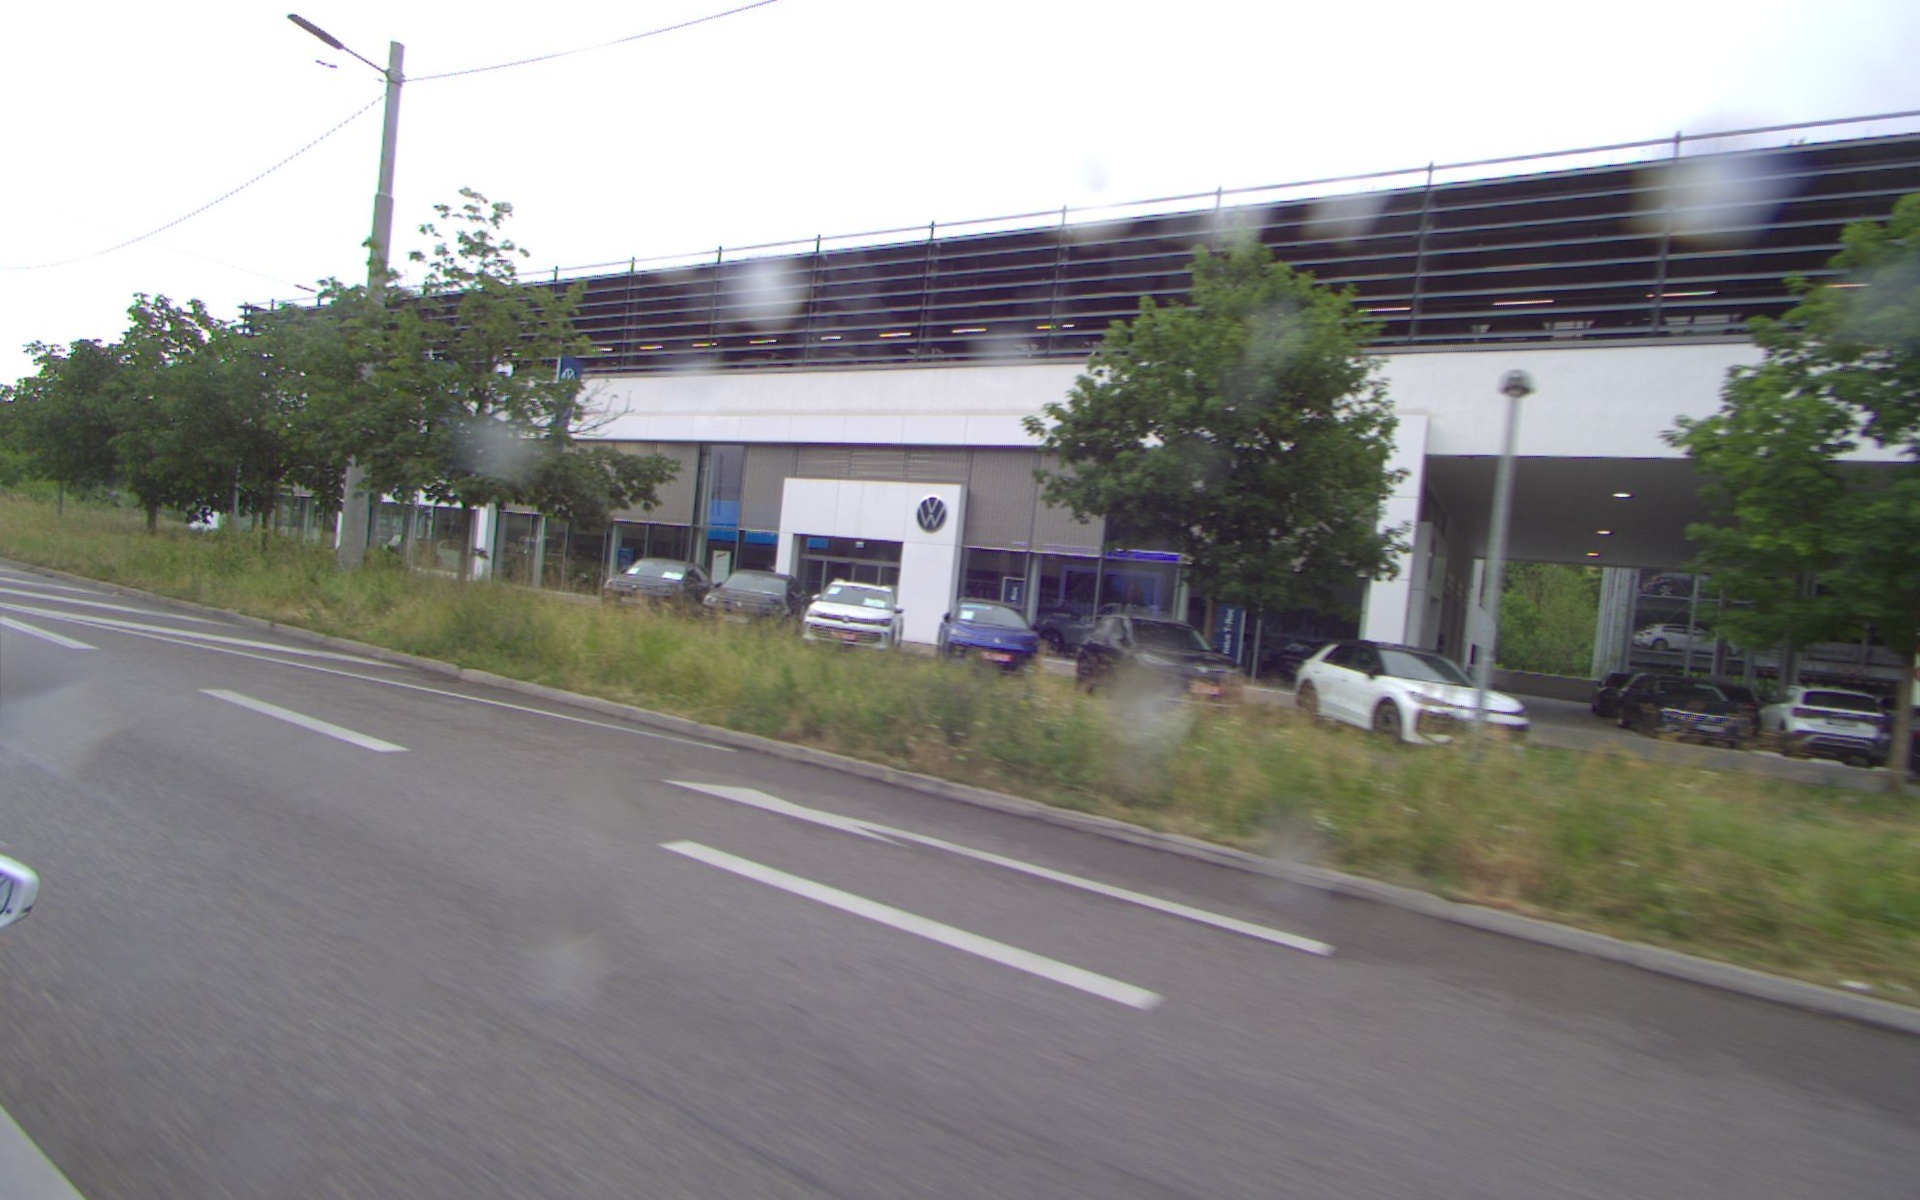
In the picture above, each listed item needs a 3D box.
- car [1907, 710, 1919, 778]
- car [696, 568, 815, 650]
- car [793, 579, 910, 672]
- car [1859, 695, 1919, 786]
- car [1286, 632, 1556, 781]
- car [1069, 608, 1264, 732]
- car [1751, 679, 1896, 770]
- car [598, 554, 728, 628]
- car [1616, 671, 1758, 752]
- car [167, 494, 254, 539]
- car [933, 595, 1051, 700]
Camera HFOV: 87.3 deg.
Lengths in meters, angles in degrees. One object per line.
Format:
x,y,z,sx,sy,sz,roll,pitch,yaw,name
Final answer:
21.346,3.130,20.769,1.757,1.525,3.994,7,-2,33,car
-4.626,0.156,23.425,1.765,1.589,4.372,5,1,0,car
-2.194,0.461,21.558,1.821,1.647,4.352,5,1,1,car
19.230,2.777,17.751,4.615,1.487,1.780,6,2,30,car
6.697,1.465,15.179,1.767,1.589,4.094,5,1,-5,car
3.355,1.084,17.257,1.768,1.589,4.181,5,1,-9,car
19.234,2.698,22.582,1.611,1.607,3.821,7,0,30,car
-7.522,-0.240,25.986,1.817,1.589,4.623,5,1,1,car
17.106,2.562,23.881,1.702,1.470,3.826,7,0,22,car
-43.466,-4.860,58.330,5.003,2.038,2.047,7,0,29,car
0.497,0.812,19.422,1.766,1.589,4.185,5,1,-4,car
